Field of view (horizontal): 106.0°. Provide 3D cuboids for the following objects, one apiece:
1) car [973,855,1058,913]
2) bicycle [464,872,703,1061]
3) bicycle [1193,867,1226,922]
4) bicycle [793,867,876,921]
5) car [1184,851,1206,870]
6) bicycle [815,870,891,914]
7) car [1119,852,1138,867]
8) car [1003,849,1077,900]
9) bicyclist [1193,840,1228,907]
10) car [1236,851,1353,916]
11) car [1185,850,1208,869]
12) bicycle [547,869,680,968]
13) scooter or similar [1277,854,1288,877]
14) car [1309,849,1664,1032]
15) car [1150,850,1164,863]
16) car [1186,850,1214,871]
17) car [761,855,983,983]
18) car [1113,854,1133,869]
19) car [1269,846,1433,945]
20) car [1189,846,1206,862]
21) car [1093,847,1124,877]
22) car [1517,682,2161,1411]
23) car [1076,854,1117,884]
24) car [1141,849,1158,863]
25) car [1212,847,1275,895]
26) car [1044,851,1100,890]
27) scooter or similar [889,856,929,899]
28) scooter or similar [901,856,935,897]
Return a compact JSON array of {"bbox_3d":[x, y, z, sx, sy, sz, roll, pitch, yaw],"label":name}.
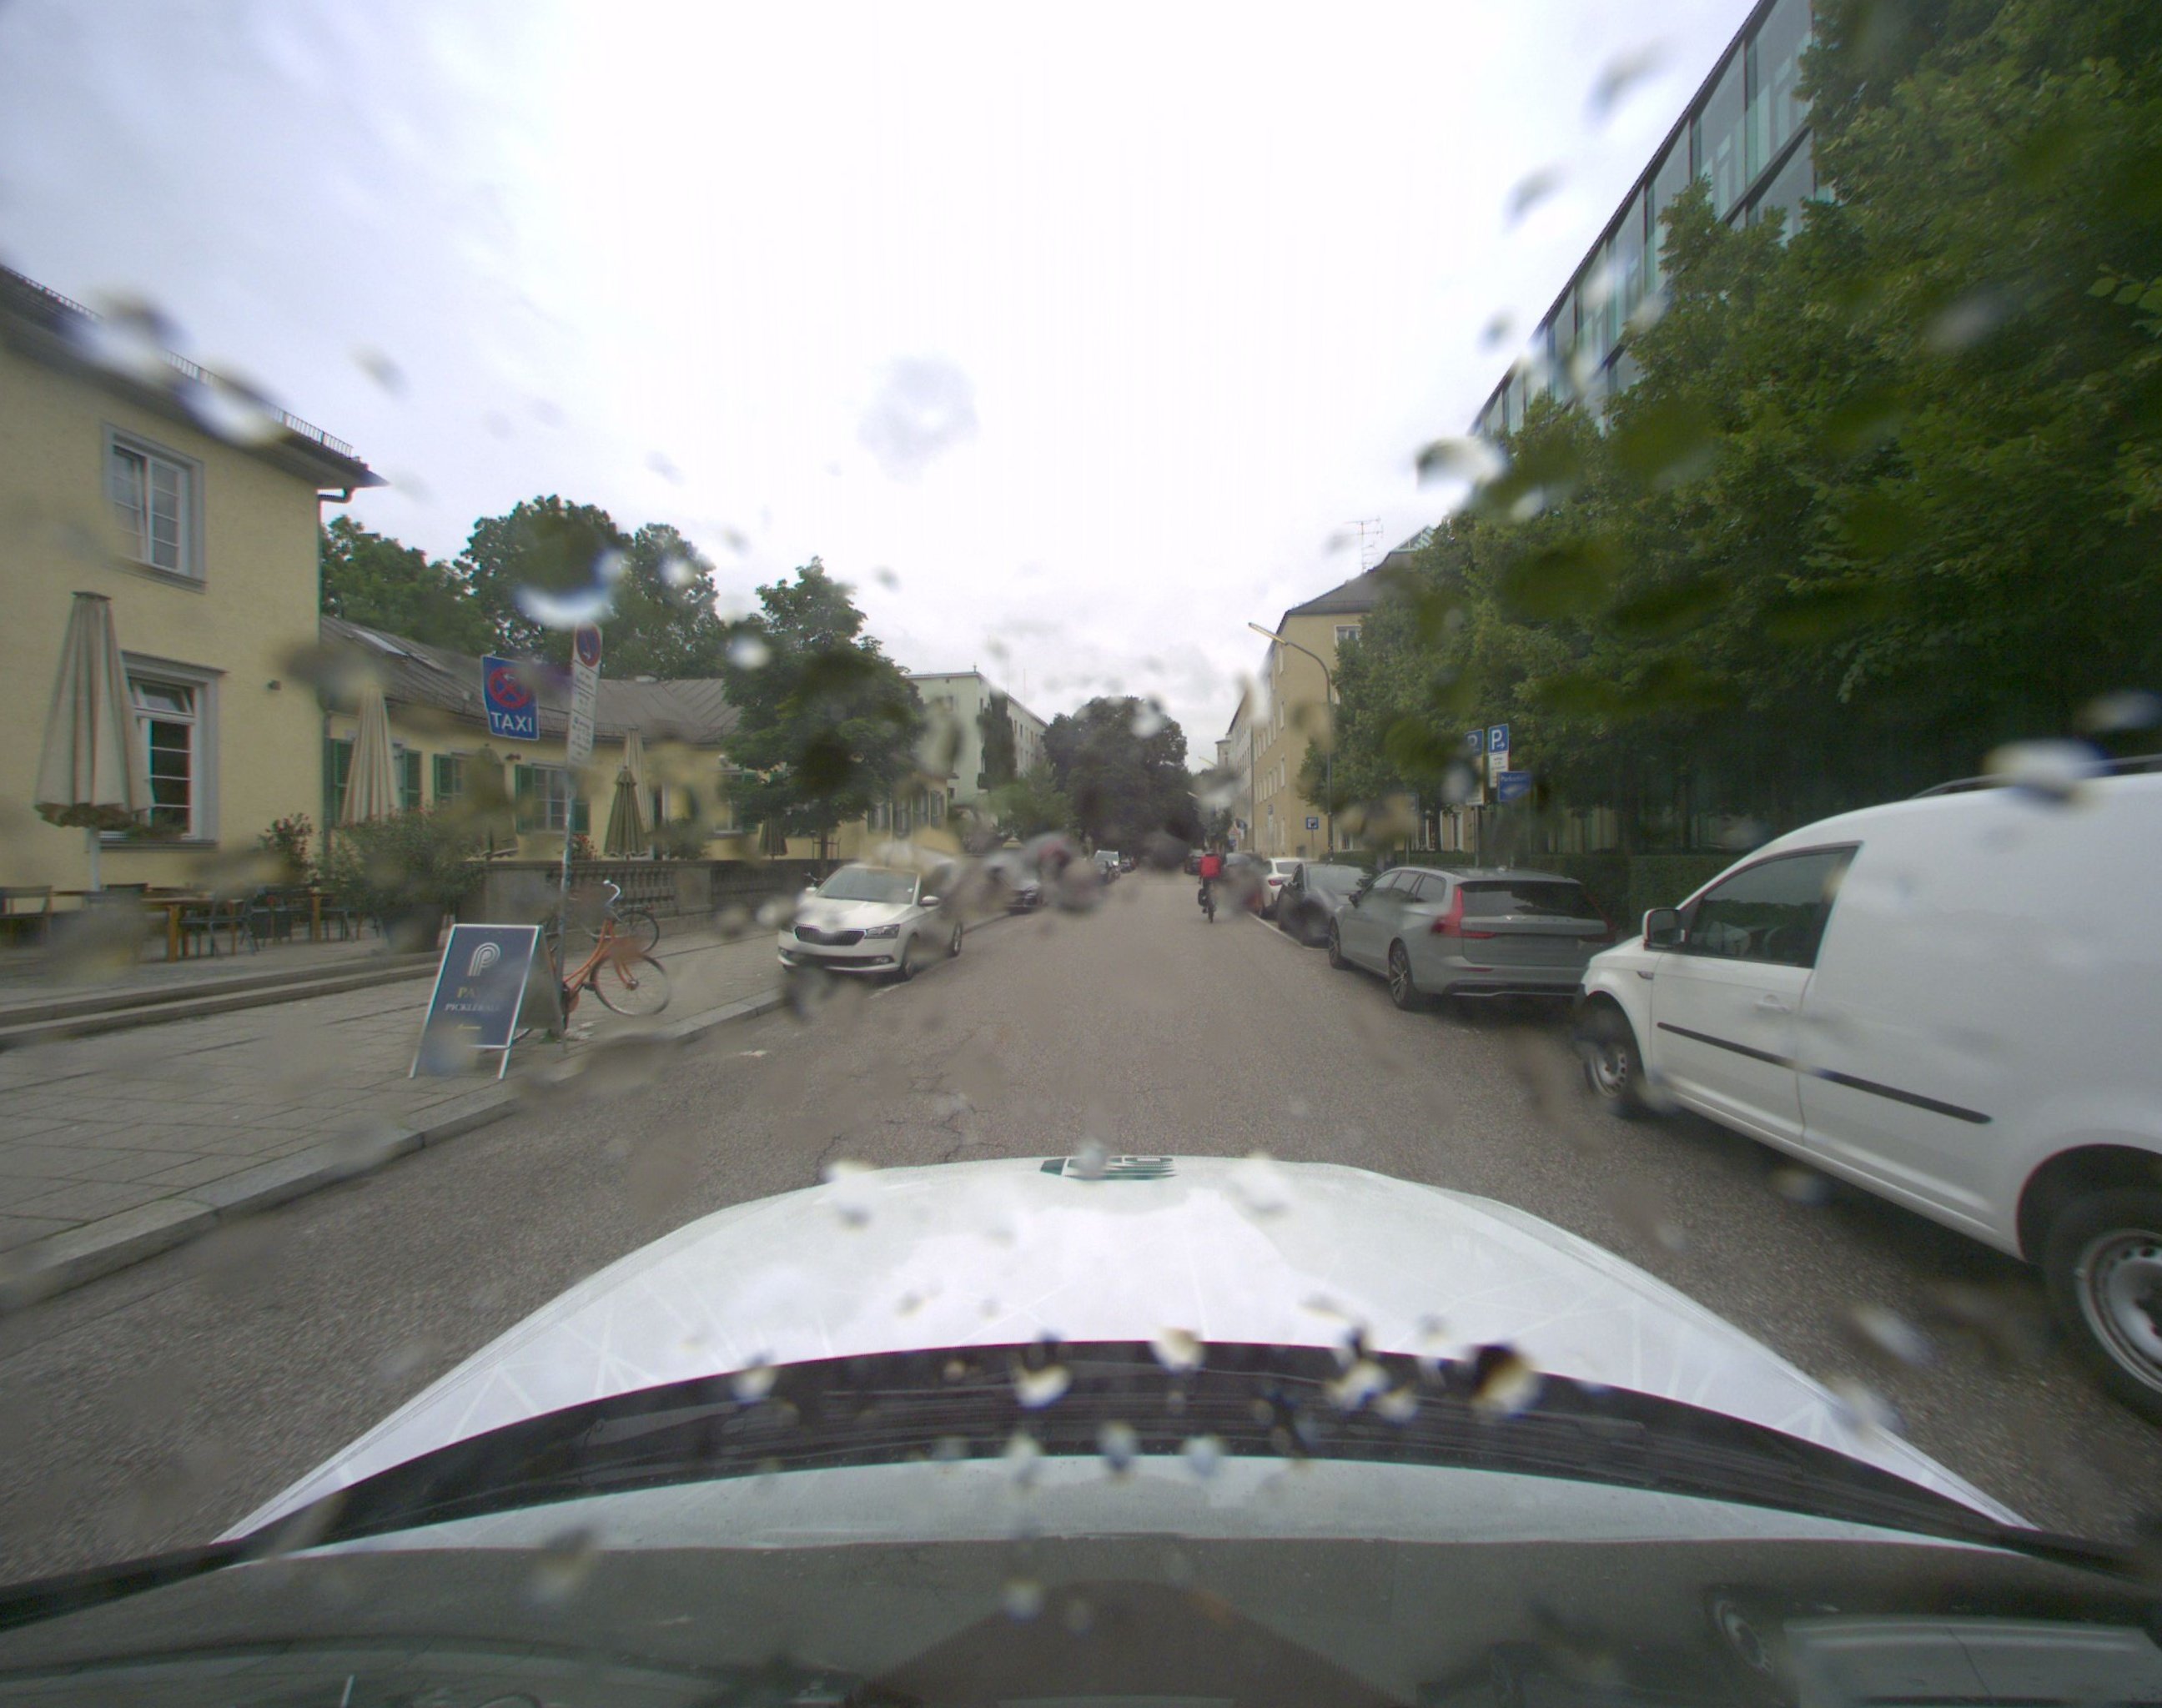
[{"bbox_3d":[-1.837,0.810,24.245,1.888,1.519,4.659,0,0,3],"label":"car"},{"bbox_3d":[-4.189,0.871,7.034,0.774,1.369,1.701,-1,0,13],"label":"bicycle"},{"bbox_3d":[2.939,0.887,18.481,0.668,1.141,2.017,0,0,11],"label":"bicycle"},{"bbox_3d":[-5.469,0.857,18.091,1.640,1.088,0.631,-2,1,-35],"label":"bicycle"},{"bbox_3d":[10.104,0.550,72.227,1.828,1.531,4.425,-2,0,8],"label":"car"},{"bbox_3d":[-5.619,0.922,20.096,1.712,1.028,0.647,0,1,12],"label":"bicycle"},{"bbox_3d":[5.202,0.549,88.737,1.877,1.590,4.536,0,0,6],"label":"car"},{"bbox_3d":[-1.379,0.681,29.628,1.892,1.691,4.818,0,0,7],"label":"car"},{"bbox_3d":[2.987,0.435,18.680,0.749,1.483,0.984,0,0,11],"label":"bicyclist"},{"bbox_3d":[5.274,0.655,20.782,1.985,1.460,4.962,0,0,3],"label":"car"},{"bbox_3d":[10.963,0.485,77.479,1.983,1.707,4.543,1,0,7],"label":"car"},{"bbox_3d":[-6.595,0.869,11.528,1.575,1.262,0.565,-2,0,-35],"label":"bicycle"},{"bbox_3d":[10.921,0.620,44.150,0.340,1.255,1.311,-3,-1,6],"label":"scooter or similar"},{"bbox_3d":[4.162,0.734,9.469,1.938,1.552,5.010,0,0,4],"label":"car"},{"bbox_3d":[11.948,0.356,128.173,2.172,1.956,5.176,0,0,6],"label":"car"},{"bbox_3d":[9.713,0.511,66.791,1.852,1.577,4.905,-2,0,4],"label":"car"},{"bbox_3d":[-2.764,0.776,11.924,1.716,1.492,4.468,0,0,5],"label":"car"},{"bbox_3d":[4.102,0.701,79.045,1.799,1.402,4.929,0,0,4],"label":"car"},{"bbox_3d":[4.835,0.652,15.334,1.952,1.552,4.858,0,0,6],"label":"car"},{"bbox_3d":[16.573,0.023,115.754,2.191,2.208,4.865,-2,-1,7],"label":"car"},{"bbox_3d":[2.015,0.542,58.336,1.958,1.990,5.157,0,0,4],"label":"car"},{"bbox_3d":[3.846,0.503,3.587,1.776,1.895,4.581,0,0,5],"label":"car"},{"bbox_3d":[0.931,0.828,47.306,1.849,1.544,4.196,-3,0,7],"label":"car"},{"bbox_3d":[9.877,0.320,116.601,2.236,1.956,5.463,0,0,6],"label":"car"},{"bbox_3d":[5.943,0.588,30.313,1.982,1.631,5.111,0,0,8],"label":"car"},{"bbox_3d":[-0.320,0.695,36.484,1.835,1.607,4.753,0,0,8],"label":"car"},{"bbox_3d":[-5.541,0.738,26.284,0.371,1.343,1.361,-1,0,32],"label":"scooter or similar"},{"bbox_3d":[-5.504,0.749,27.570,0.360,1.314,1.261,-1,0,30],"label":"scooter or similar"}]
